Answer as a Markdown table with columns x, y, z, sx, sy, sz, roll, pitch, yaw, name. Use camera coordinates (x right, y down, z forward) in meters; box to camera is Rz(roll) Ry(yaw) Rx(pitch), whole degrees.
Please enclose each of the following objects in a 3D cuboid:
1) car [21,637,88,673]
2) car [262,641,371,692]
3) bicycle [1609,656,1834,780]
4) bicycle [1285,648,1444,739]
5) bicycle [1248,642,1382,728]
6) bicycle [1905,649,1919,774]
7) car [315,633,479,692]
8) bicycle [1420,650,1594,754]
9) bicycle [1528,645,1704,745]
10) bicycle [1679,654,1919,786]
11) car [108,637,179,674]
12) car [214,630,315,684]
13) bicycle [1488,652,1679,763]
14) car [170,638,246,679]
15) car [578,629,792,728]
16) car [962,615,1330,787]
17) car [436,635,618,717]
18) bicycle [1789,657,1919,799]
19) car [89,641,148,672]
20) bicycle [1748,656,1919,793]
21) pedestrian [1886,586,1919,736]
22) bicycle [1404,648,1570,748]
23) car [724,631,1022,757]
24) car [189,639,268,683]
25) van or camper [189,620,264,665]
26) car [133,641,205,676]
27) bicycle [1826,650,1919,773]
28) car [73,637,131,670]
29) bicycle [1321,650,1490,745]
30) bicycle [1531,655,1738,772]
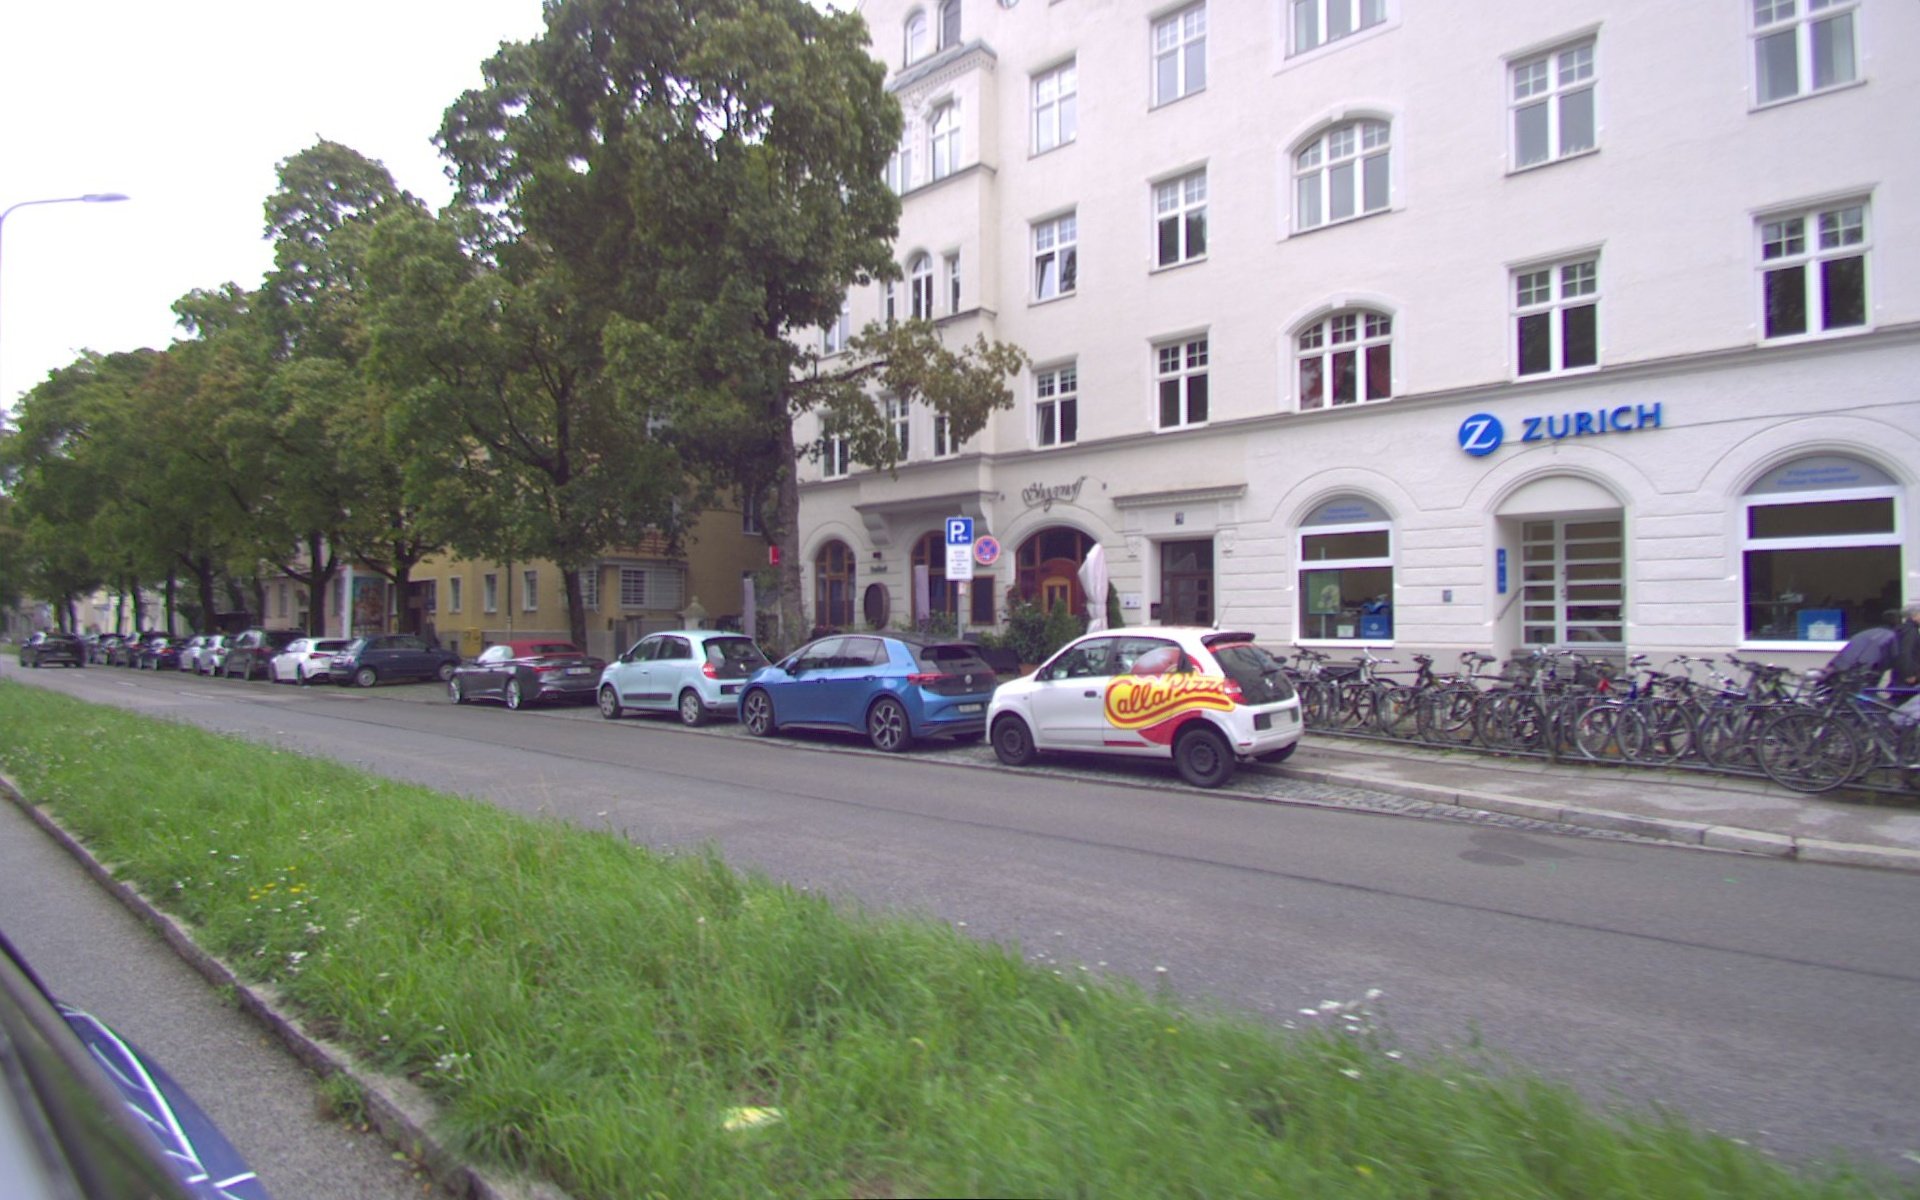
| x | y | z | sx | sy | sz | roll | pitch | yaw | name |
| --- | --- | --- | --- | --- | --- | --- | --- | --- | --- |
| -41.856 | 2.528 | 46.731 | 4.620 | 1.597 | 1.854 | -2 | -5 | 43 | car |
| -19.783 | 1.981 | 31.030 | 4.402 | 1.413 | 1.708 | -2 | -2 | 42 | car |
| 7.249 | 1.110 | 9.699 | 1.667 | 1.124 | 0.328 | -1 | -2 | 19 | bicycle |
| 5.189 | 1.192 | 13.070 | 1.859 | 1.124 | 0.328 | -1 | -2 | 19 | bicycle |
| 4.776 | 1.137 | 13.695 | 1.665 | 1.124 | 0.329 | -1 | -2 | 14 | bicycle |
| 9.511 | 0.990 | 8.836 | 1.799 | 1.124 | 0.394 | -1 | -2 | 19 | bicycle |
| -16.495 | 1.781 | 29.788 | 1.731 | 1.475 | 3.850 | -2 | -1 | 40 | car |
| 6.147 | 1.138 | 11.451 | 1.667 | 1.124 | 0.328 | -1 | -2 | 19 | bicycle |
| 7.666 | 1.097 | 11.879 | 1.667 | 1.124 | 0.328 | -1 | -2 | 19 | bicycle |
| 7.565 | 1.060 | 9.147 | 1.667 | 1.124 | 0.365 | -1 | -2 | 19 | bicycle |
| -38.437 | 2.567 | 47.596 | 4.768 | 1.658 | 1.859 | -2 | -2 | 42 | car |
| -24.062 | 1.917 | 34.956 | 4.765 | 1.741 | 1.791 | -2 | -2 | 42 | car |
| 6.614 | 1.124 | 10.800 | 1.667 | 1.124 | 0.328 | -1 | -2 | 19 | bicycle |
| -30.561 | 2.326 | 41.068 | 4.056 | 1.573 | 1.708 | -2 | -2 | 42 | car |
| -4.902 | 1.289 | 17.776 | 3.959 | 1.518 | 1.791 | -2 | -2 | 42 | car |
| 1.955 | 1.001 | 11.360 | 3.790 | 1.597 | 1.631 | -2 | -2 | 44 | car |
| -9.278 | 1.532 | 21.505 | 4.644 | 1.518 | 1.791 | -2 | -2 | 42 | car |
| 7.845 | 1.030 | 8.214 | 1.667 | 1.124 | 0.366 | -1 | -2 | 19 | bicycle |
| -42.960 | 2.847 | 51.631 | 4.491 | 1.465 | 1.674 | -2 | -2 | 42 | car |
| 7.818 | 1.048 | 8.638 | 1.667 | 1.124 | 0.328 | -1 | -2 | 19 | bicycle |
| 11.220 | 0.696 | 11.635 | 0.770 | 1.710 | 0.537 | -2 | -2 | 40 | pedestrian |
| 6.156 | 1.130 | 11.889 | 1.667 | 1.124 | 0.328 | -1 | -2 | 19 | bicycle |
| -1.357 | 1.222 | 14.455 | 4.289 | 1.518 | 1.791 | -2 | -2 | 42 | car |
| -27.425 | 2.246 | 37.926 | 3.007 | 1.569 | 1.709 | -2 | -2 | 40 | car |
| -44.715 | 2.562 | 61.633 | 6.849 | 2.599 | 2.321 | -2 | -2 | 42 | van or camper |
| -34.236 | 2.506 | 43.779 | 4.361 | 1.416 | 1.708 | -2 | -2 | 42 | car |
| 9.260 | 1.028 | 9.394 | 1.799 | 1.124 | 0.394 | -1 | -2 | 19 | bicycle |
| -46.852 | 2.866 | 55.223 | 4.437 | 1.700 | 1.854 | -2 | -2 | 42 | car |
| 5.485 | 1.187 | 12.554 | 1.859 | 1.124 | 0.328 | -1 | -2 | 19 | bicycle |
| 6.788 | 1.124 | 10.250 | 1.667 | 1.124 | 0.380 | -1 | -2 | 19 | bicycle |
